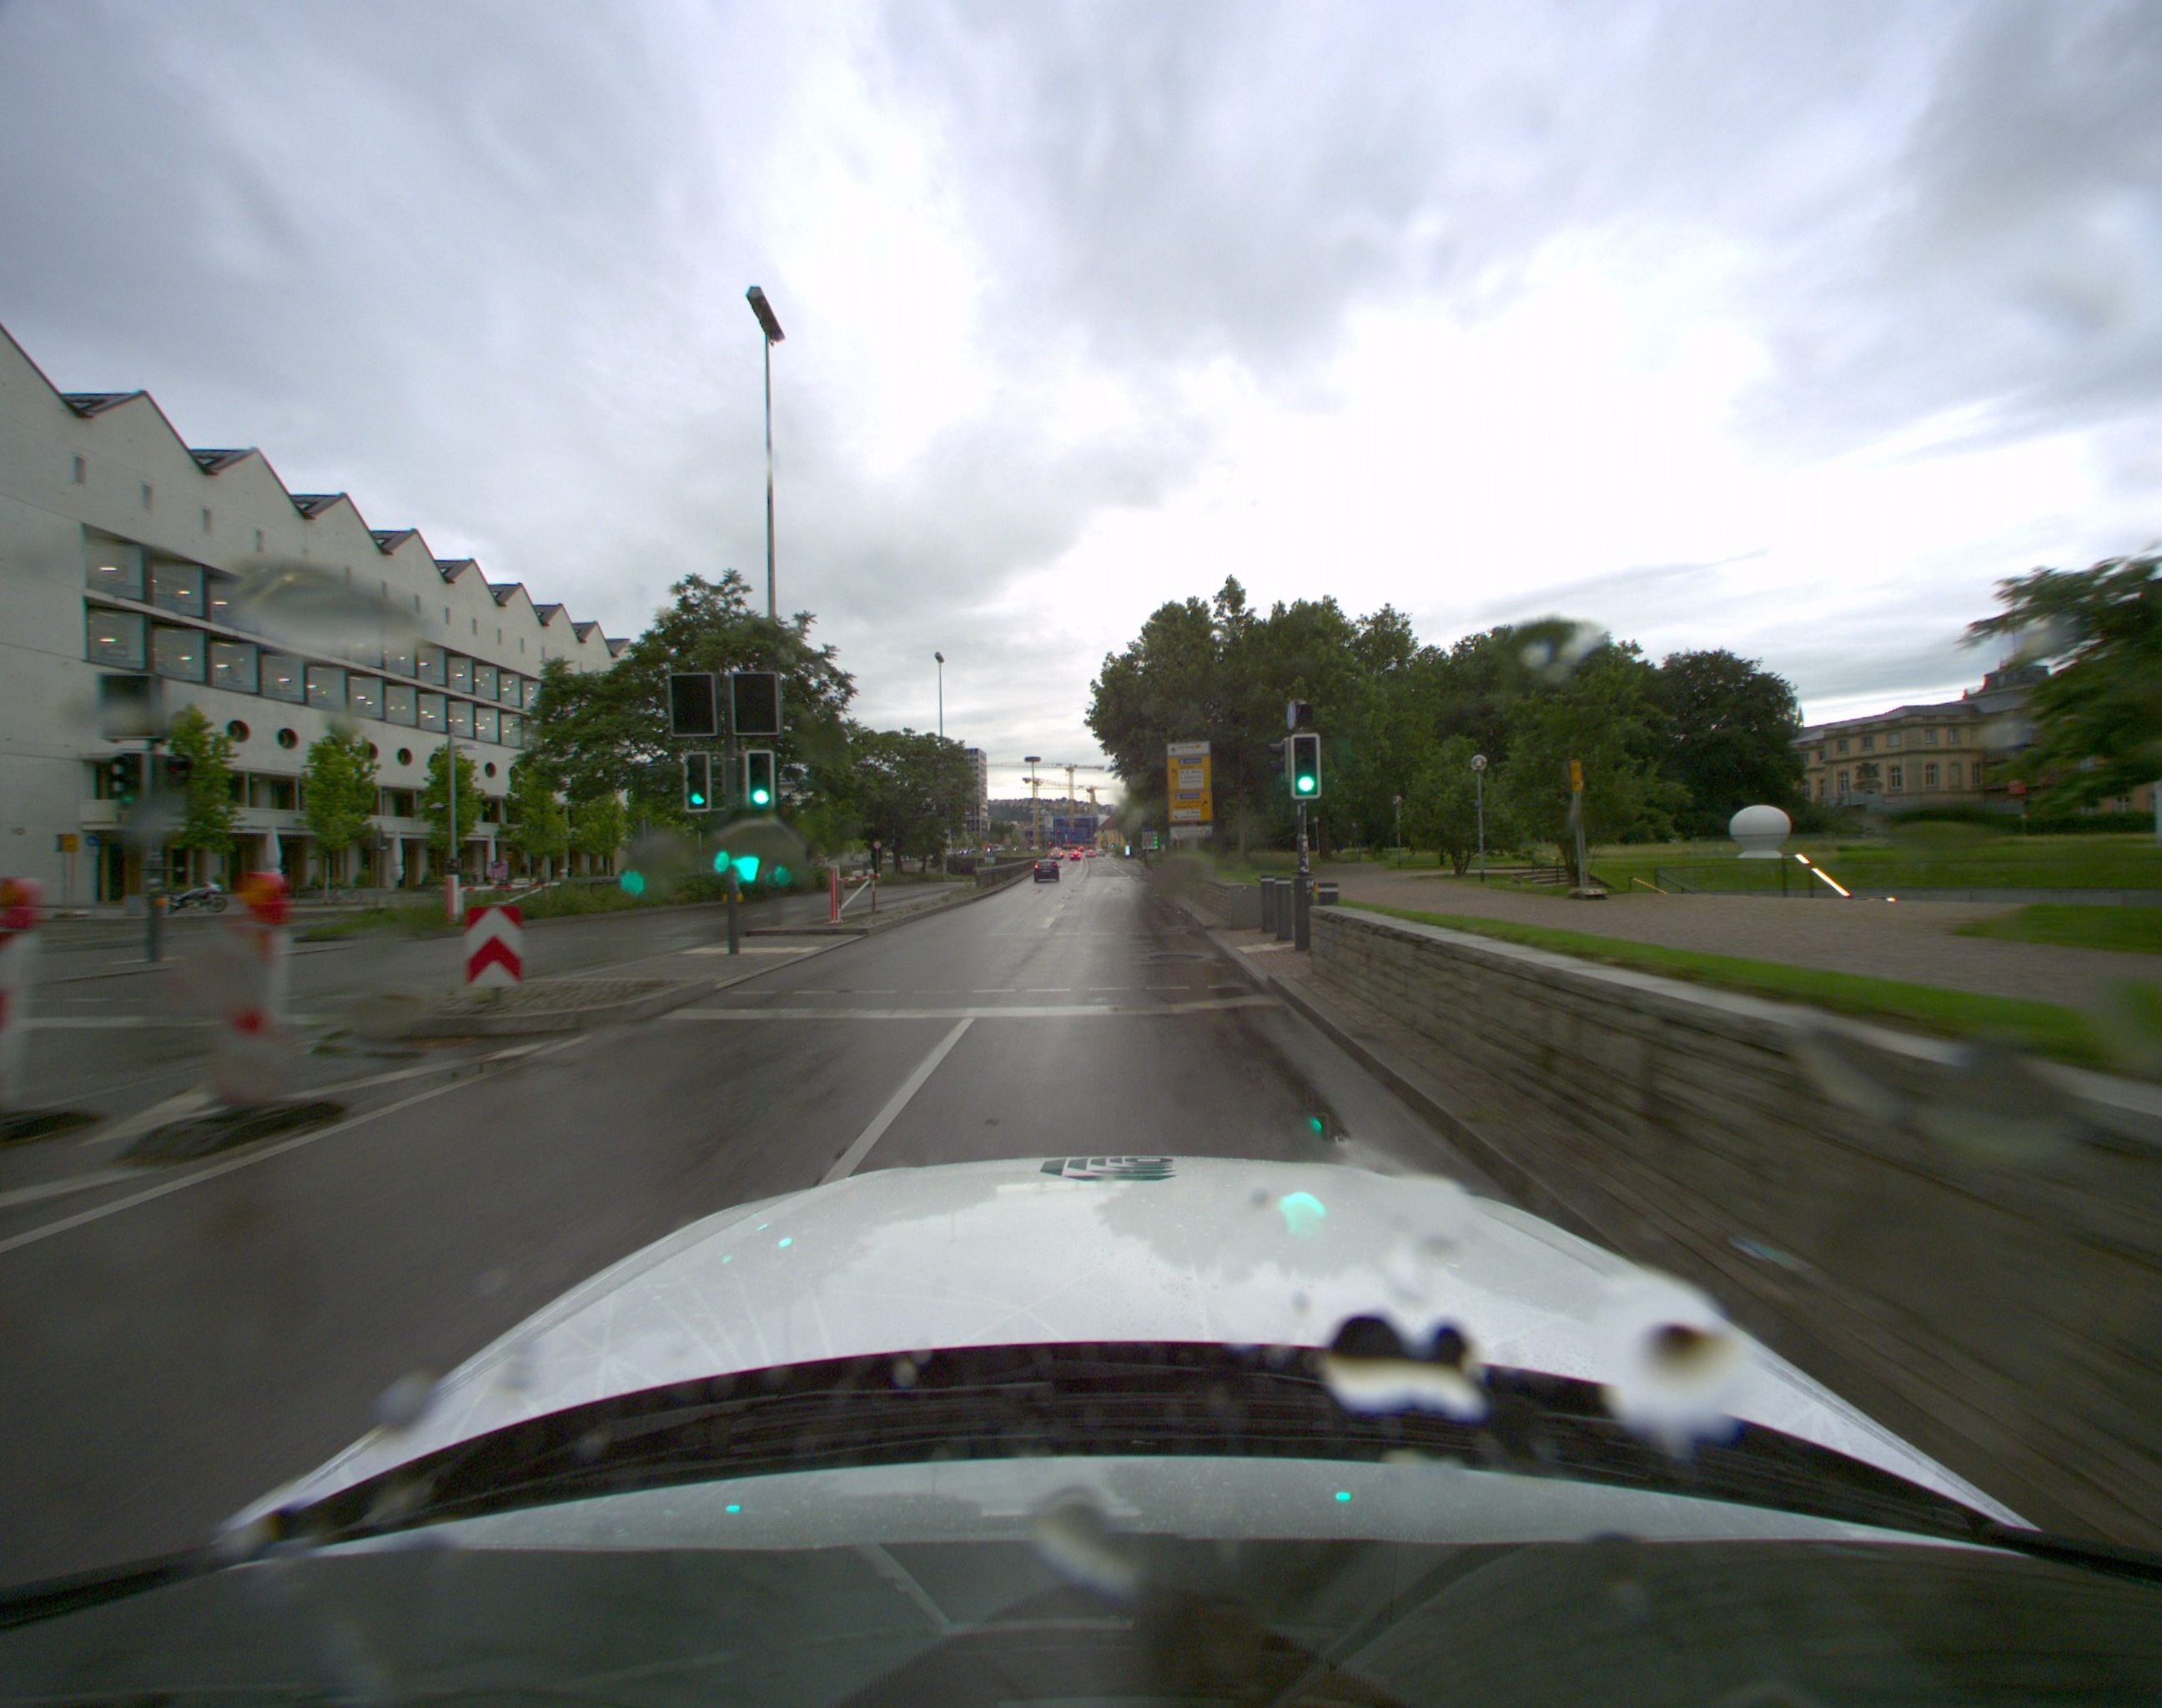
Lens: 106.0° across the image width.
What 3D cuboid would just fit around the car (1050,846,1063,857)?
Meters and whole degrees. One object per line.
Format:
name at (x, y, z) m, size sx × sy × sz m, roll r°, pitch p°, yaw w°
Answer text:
car at (-4.819, -0.427, 163.013) m, size 2.211 × 2.014 × 4.002 m, roll -3°, pitch -1°, yaw 2°

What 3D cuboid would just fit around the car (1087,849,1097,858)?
car at (2.440, -0.105, 182.022) m, size 1.981 × 2.014 × 3.999 m, roll -3°, pitch -1°, yaw 0°

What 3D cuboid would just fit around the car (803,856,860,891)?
car at (-12.627, 0.969, 41.438) m, size 1.991 × 1.632 × 3.992 m, roll -1°, pitch 0°, yaw -5°

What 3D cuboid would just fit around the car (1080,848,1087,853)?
car at (0.781, -1.030, 248.673) m, size 1.715 × 1.557 × 3.585 m, roll -1°, pitch 0°, yaw 2°

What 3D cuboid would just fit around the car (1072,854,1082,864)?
car at (-0.704, 1.018, 152.840) m, size 1.734 × 1.771 × 3.998 m, roll -3°, pitch -1°, yaw -1°

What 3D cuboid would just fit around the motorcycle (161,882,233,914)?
motorcycle at (-34.697, 1.728, 31.983) m, size 1.845 × 1.154 × 0.423 m, roll -2°, pitch 0°, yaw -29°

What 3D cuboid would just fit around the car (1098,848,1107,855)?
car at (5.101, -0.651, 196.448) m, size 1.986 × 1.599 × 4.002 m, roll -3°, pitch -1°, yaw 2°

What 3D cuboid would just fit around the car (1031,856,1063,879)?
car at (-2.282, 0.894, 54.121) m, size 1.842 × 1.416 × 3.830 m, roll -3°, pitch -1°, yaw -6°

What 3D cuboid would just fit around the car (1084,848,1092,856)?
car at (1.610, -0.421, 187.542) m, size 1.706 × 1.690 × 3.851 m, roll -3°, pitch -1°, yaw 2°

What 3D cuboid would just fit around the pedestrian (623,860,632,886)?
pedestrian at (-36.407, 1.518, 65.401) m, size 0.543 × 2.014 × 0.525 m, roll -2°, pitch -2°, yaw -36°
